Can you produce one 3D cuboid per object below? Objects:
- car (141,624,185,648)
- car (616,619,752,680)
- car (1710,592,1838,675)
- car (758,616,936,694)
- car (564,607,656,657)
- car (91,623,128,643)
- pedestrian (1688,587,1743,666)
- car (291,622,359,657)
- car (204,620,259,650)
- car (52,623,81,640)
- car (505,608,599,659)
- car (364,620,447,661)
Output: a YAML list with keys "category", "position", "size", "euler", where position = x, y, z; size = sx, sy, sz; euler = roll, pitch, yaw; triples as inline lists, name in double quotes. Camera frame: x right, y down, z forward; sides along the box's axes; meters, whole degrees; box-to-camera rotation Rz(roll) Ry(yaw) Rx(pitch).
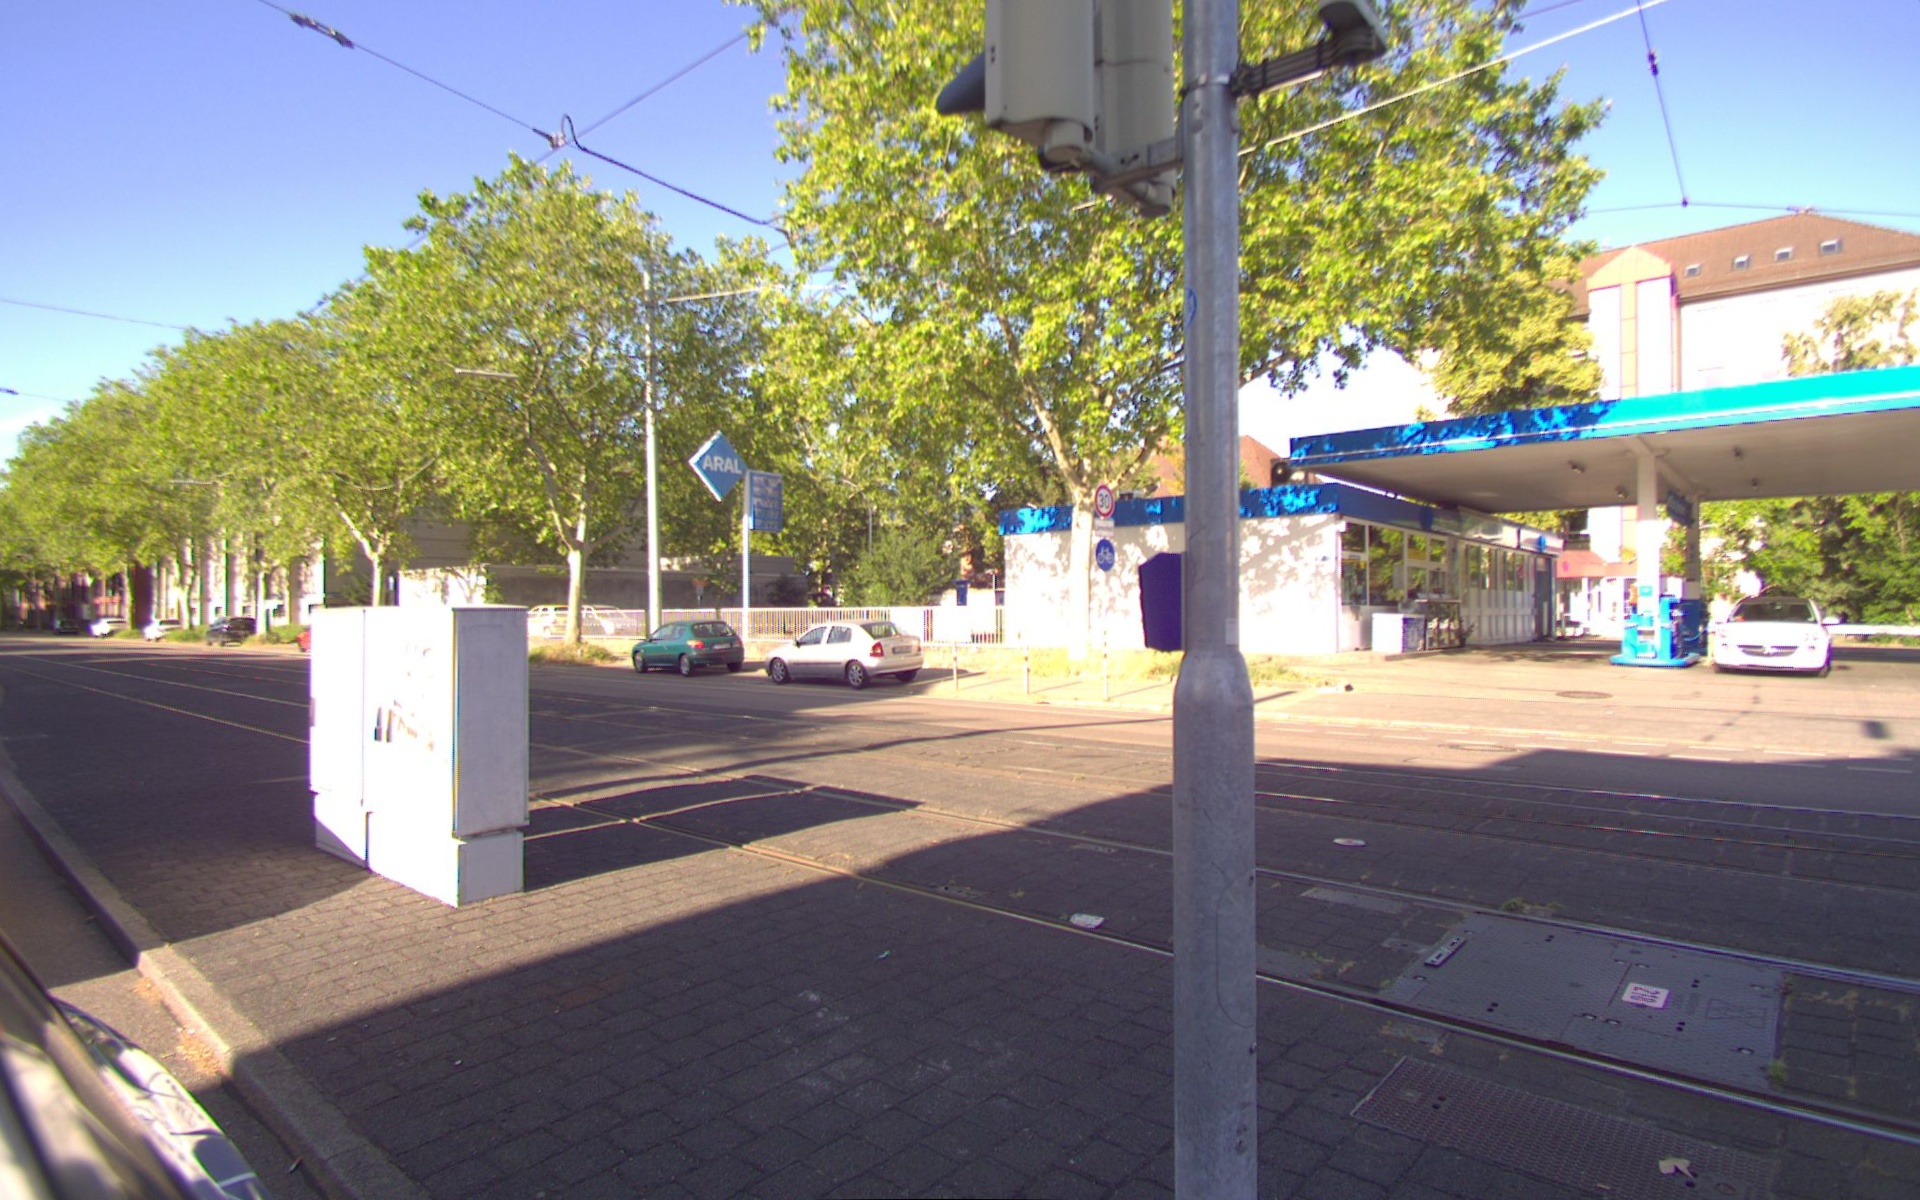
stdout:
- category: "car"
  position: [-53.642, 2.390, 68.123]
  size: [3.858, 1.495, 1.735]
  euler: [-1, 0, 43]
- category: "car"
  position: [-7.437, 1.271, 27.078]
  size: [3.858, 1.408, 1.722]
  euler: [-1, 1, 43]
- category: "car"
  position: [15.938, 0.613, 19.784]
  size: [1.793, 1.453, 3.946]
  euler: [-1, -1, 40]
- category: "car"
  position: [-2.576, 1.164, 22.598]
  size: [3.857, 1.497, 1.823]
  euler: [-1, 1, 42]
- category: "car"
  position: [-15.149, 1.360, 43.692]
  size: [3.996, 2.029, 1.974]
  euler: [-1, -1, 39]
- category: "car"
  position: [-66.930, 2.569, 79.642]
  size: [3.858, 1.495, 1.735]
  euler: [-1, 0, 43]
- category: "pedestrian"
  position: [16.138, 0.554, 21.623]
  size: [0.637, 1.642, 0.814]
  euler: [1, -2, -42]
- category: "car"
  position: [-28.915, 1.768, 46.047]
  size: [3.858, 1.440, 1.695]
  euler: [-1, 0, 43]
- category: "car"
  position: [-40.679, 1.948, 56.487]
  size: [3.858, 1.557, 1.735]
  euler: [-1, 0, 43]
- category: "car"
  position: [-84.877, 3.000, 96.117]
  size: [3.858, 1.495, 1.735]
  euler: [-1, 0, 43]
- category: "car"
  position: [-17.048, 1.389, 42.264]
  size: [3.996, 2.029, 1.974]
  euler: [-1, -1, 39]
- category: "car"
  position: [-21.988, 1.583, 40.093]
  size: [3.858, 1.468, 1.735]
  euler: [-1, 0, 43]
